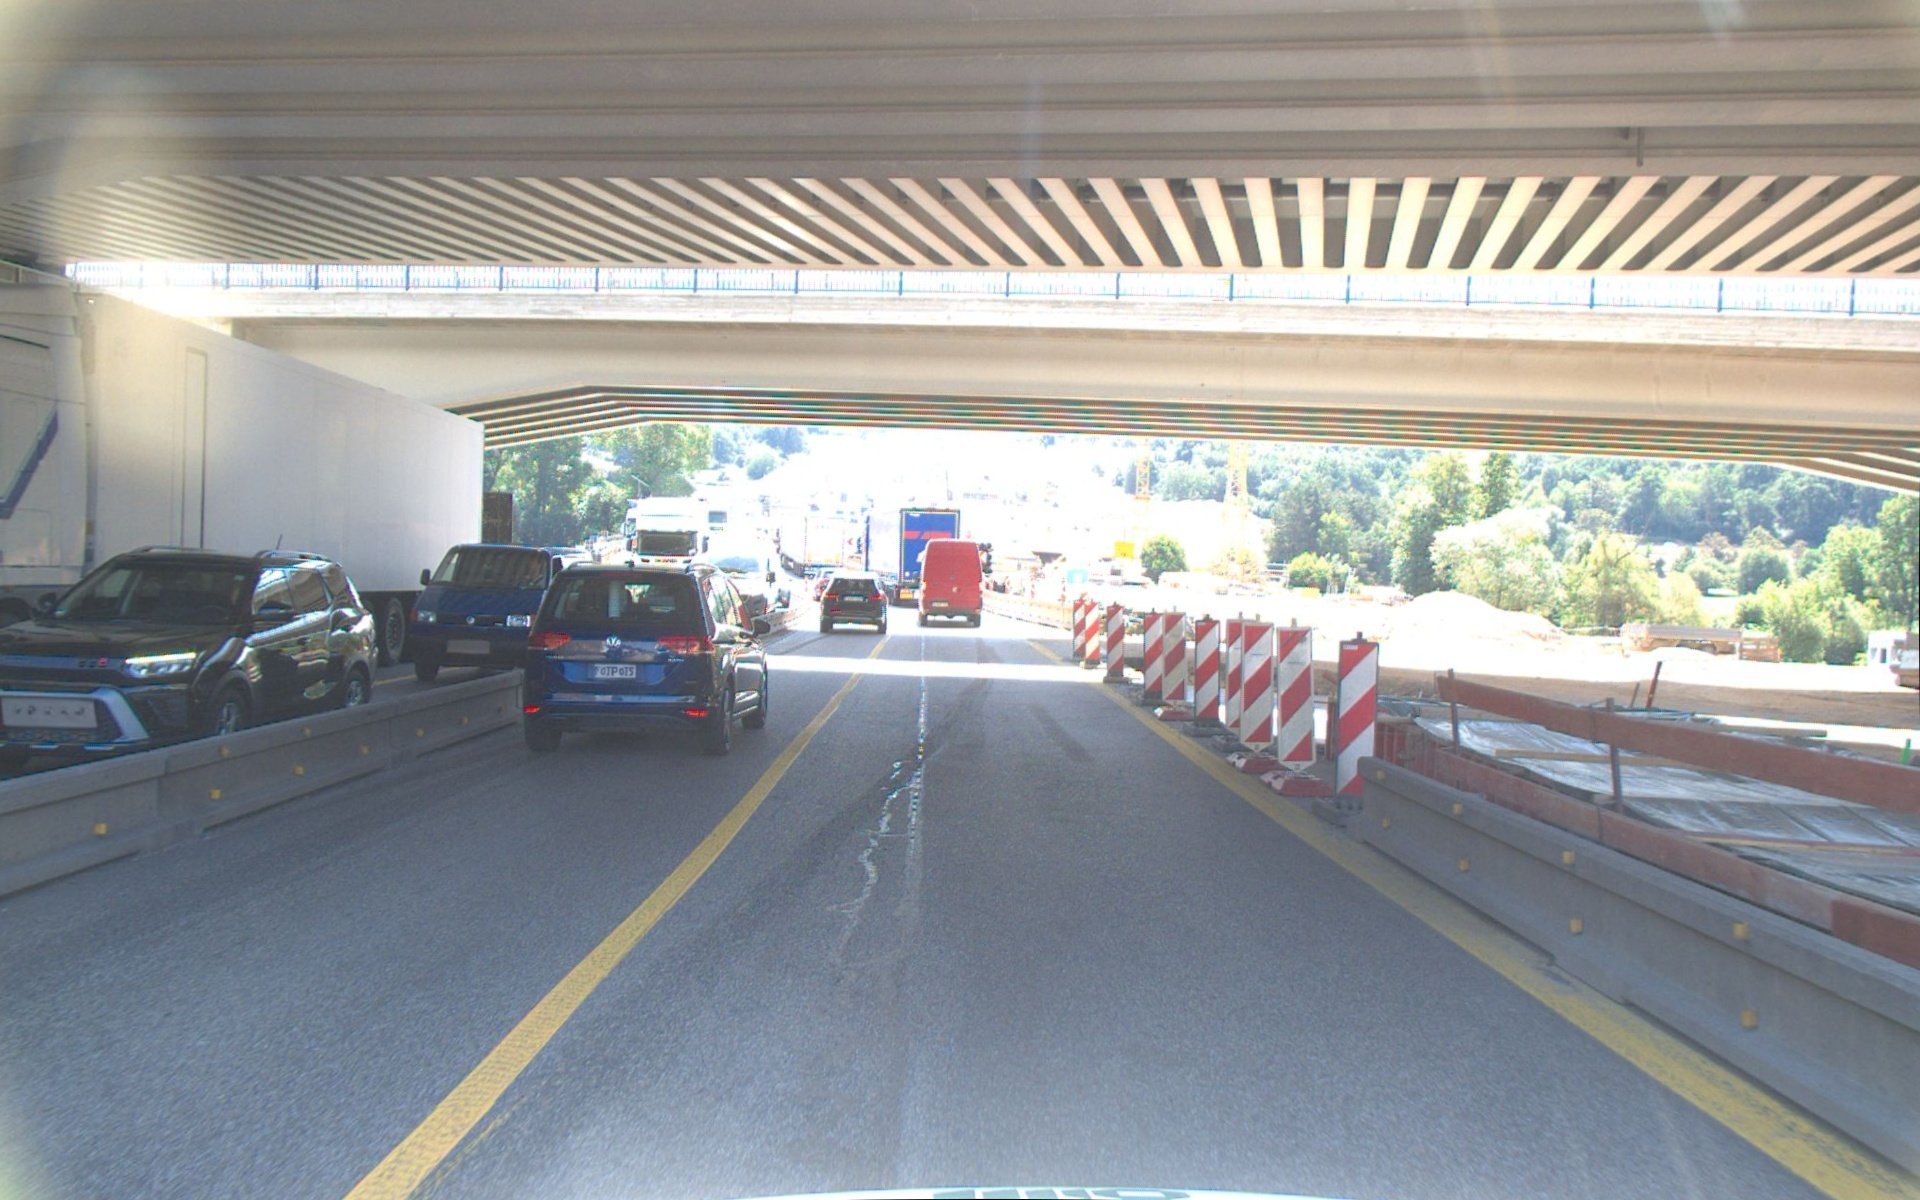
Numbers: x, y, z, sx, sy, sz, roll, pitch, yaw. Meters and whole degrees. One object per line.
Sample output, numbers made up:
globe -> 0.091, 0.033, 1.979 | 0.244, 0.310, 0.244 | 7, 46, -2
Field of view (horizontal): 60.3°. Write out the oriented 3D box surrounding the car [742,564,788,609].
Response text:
car -> -7.742, -0.568, 66.043 | 1.713, 1.699, 4.074 | 1, 1, -6

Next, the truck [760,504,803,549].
truck -> -15.909, -6.459, 146.571 | 3.160, 3.419, 8.919 | 2, -1, -10

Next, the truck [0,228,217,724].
truck -> -9.542, -1.064, 15.605 | 2.605, 4.244, 5.186 | 1, -1, 0

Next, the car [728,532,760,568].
car -> -15.586, -3.652, 119.472 | 2.222, 2.395, 5.153 | 1, 3, -8

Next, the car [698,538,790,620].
car -> -6.738, -0.651, 52.286 | 1.939, 2.371, 6.059 | 1, 0, 1

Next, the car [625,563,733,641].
car -> -6.309, 0.030, 37.527 | 1.713, 1.638, 4.141 | 1, 0, 0

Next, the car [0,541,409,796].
car -> -6.026, 0.413, 13.295 | 1.687, 1.637, 4.523 | 3, 1, -1

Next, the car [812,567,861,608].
car -> -5.598, -0.597, 74.693 | 1.800, 1.663, 4.097 | 1, 2, -10

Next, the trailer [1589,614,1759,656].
trailer -> 23.185, 1.126, 53.818 | 4.617, 1.241, 2.055 | 1, -1, -1

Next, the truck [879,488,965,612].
truck -> -1.711, -2.218, 71.278 | 2.889, 5.030, 6.733 | 1, 3, -7

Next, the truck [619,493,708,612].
truck -> -10.969, -1.751, 61.599 | 2.819, 4.121, 4.877 | 3, 1, -8

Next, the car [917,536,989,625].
car -> -0.285, -0.555, 53.136 | 2.106, 2.657, 5.436 | 1, -1, -2

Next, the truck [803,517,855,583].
truck -> -8.567, -3.334, 107.464 | 3.120, 4.058, 6.735 | 1, 3, -6

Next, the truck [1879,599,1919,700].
truck -> 23.426, 1.198, 34.978 | 6.386, 2.109, 2.666 | 3, 1, 2

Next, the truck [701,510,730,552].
truck -> -26.212, -7.411, 177.263 | 2.574, 4.343, 4.729 | 3, 2, -5

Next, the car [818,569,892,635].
car -> -2.864, 0.010, 45.733 | 1.796, 1.664, 4.389 | 1, 1, -1

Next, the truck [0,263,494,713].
truck -> -9.699, -1.040, 22.940 | 2.712, 4.389, 13.487 | 1, -1, -1

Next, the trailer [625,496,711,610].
trailer -> -11.975, -1.923, 68.920 | 2.823, 4.109, 14.334 | 3, 1, -8

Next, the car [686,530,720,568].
car -> -18.615, -3.639, 119.587 | 2.034, 2.547, 6.465 | 1, 1, -12

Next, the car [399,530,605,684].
car -> -6.521, 0.069, 24.126 | 1.764, 1.966, 4.966 | 1, 0, -2

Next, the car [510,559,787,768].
car -> -2.779, 0.492, 15.721 | 1.698, 1.664, 4.390 | 1, 1, 1

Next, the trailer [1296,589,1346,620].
trailer -> 19.670, 0.208, 90.190 | 1.591, 1.512, 3.823 | 2, 1, -4
